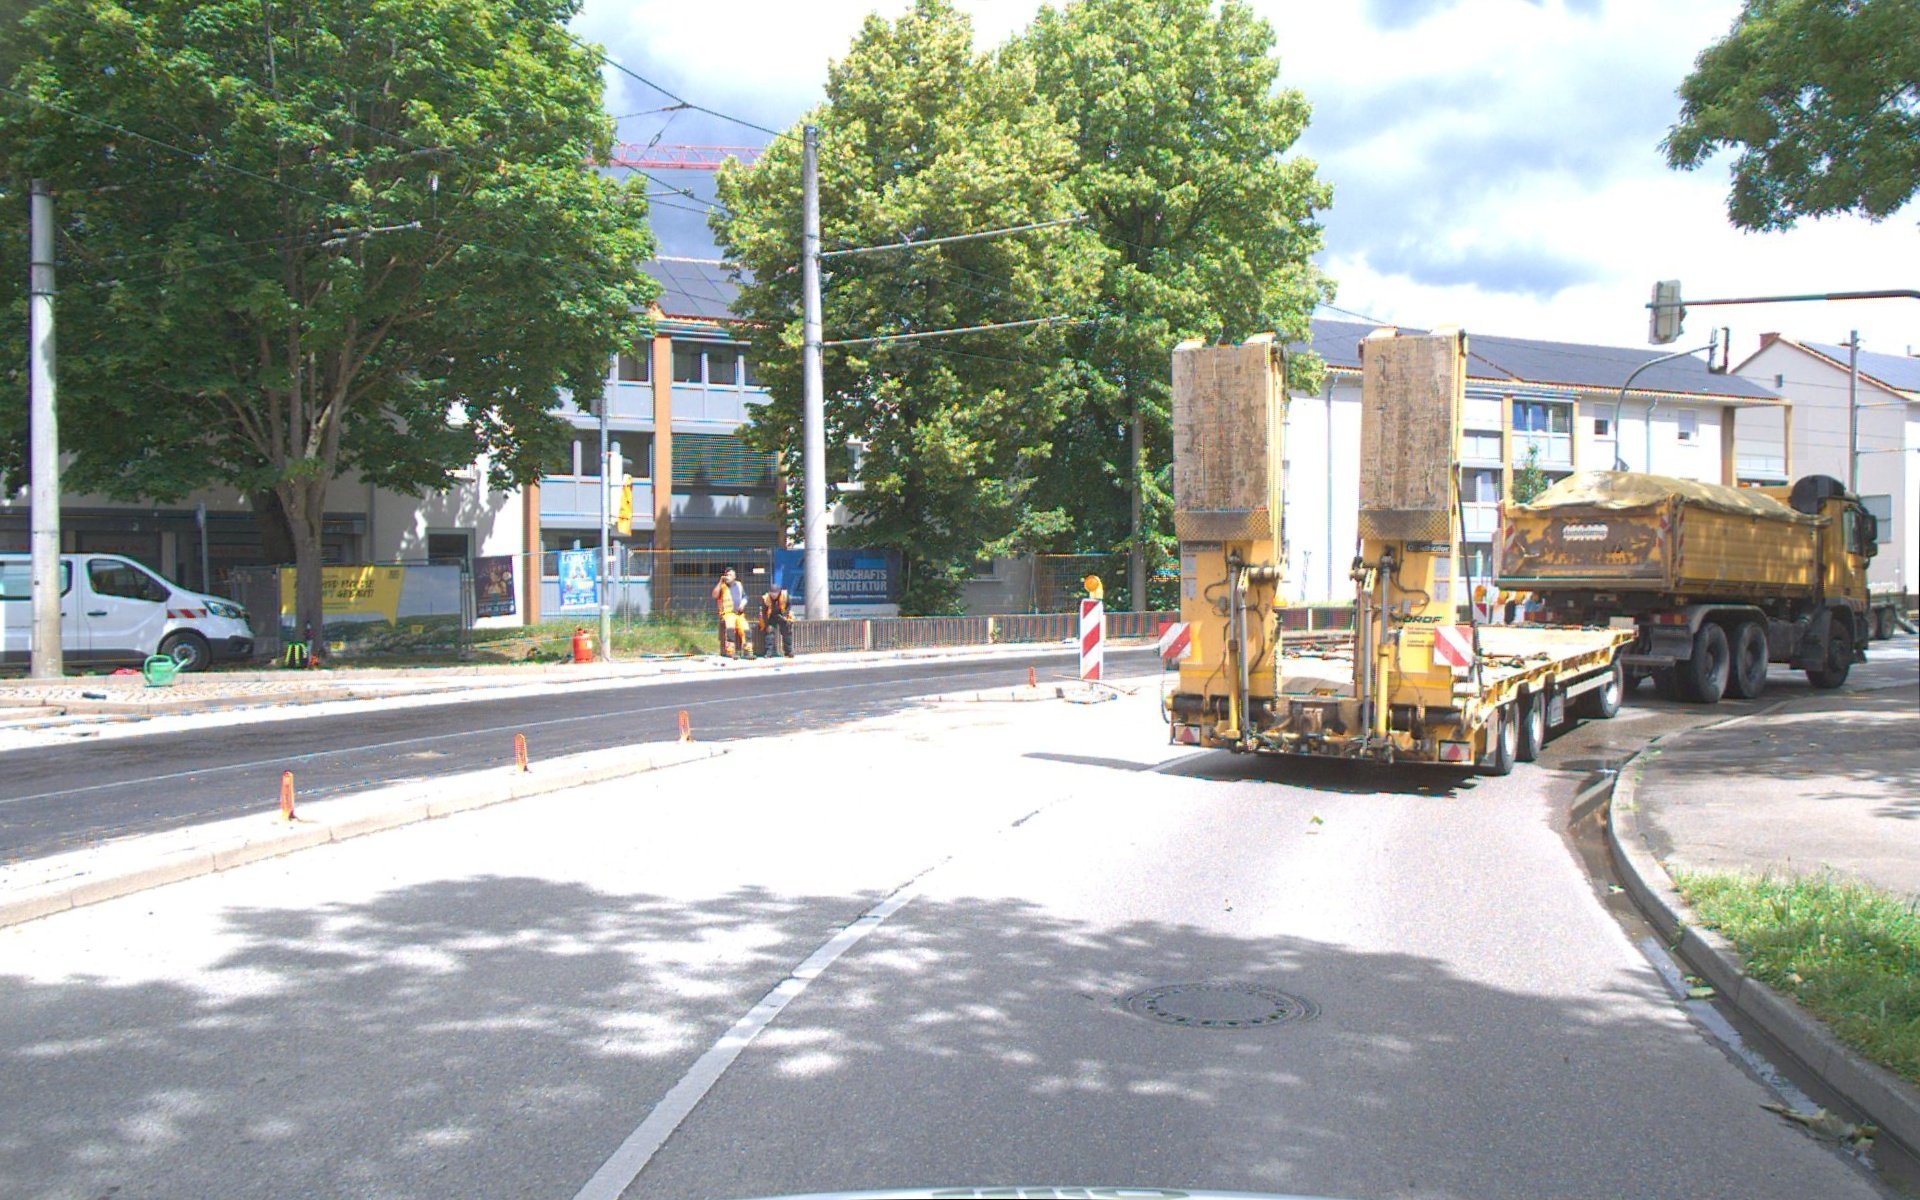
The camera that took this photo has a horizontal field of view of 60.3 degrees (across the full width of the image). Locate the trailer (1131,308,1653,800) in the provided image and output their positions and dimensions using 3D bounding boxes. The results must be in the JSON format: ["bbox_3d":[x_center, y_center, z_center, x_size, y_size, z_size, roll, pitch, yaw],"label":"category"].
[{"bbox_3d":[5.249,-0.405,17.593,2.769,3.585,11.035,2,1,28],"label":"trailer"}]

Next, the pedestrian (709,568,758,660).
[{"bbox_3d":[-3.961,0.239,28.858,0.747,1.568,0.795,-1,0,-15],"label":"pedestrian"}]

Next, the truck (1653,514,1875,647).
[{"bbox_3d":[18.357,-0.488,37.583,6.349,2.772,2.627,-1,2,-45],"label":"truck"}]

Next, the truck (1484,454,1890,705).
[{"bbox_3d":[11.158,-0.351,24.954,7.619,3.222,2.881,-1,2,-44],"label":"truck"}]

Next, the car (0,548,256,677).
[{"bbox_3d":[-13.878,0.210,25.970,5.164,1.920,1.985,-1,-2,-24],"label":"car"}]

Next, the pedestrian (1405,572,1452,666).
[{"bbox_3d":[8.078,0.313,28.541,0.746,1.578,0.902,1,1,14],"label":"pedestrian"}]

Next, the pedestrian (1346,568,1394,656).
[{"bbox_3d":[8.079,0.239,32.568,0.691,1.697,0.826,0,-1,31],"label":"pedestrian"}]

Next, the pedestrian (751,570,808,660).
[{"bbox_3d":[-3.197,0.258,29.285,0.890,1.560,0.838,-1,0,-15],"label":"pedestrian"}]

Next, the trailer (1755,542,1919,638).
[{"bbox_3d":[22.750,-0.315,42.091,6.202,2.252,2.627,-1,2,-45],"label":"trailer"}]
